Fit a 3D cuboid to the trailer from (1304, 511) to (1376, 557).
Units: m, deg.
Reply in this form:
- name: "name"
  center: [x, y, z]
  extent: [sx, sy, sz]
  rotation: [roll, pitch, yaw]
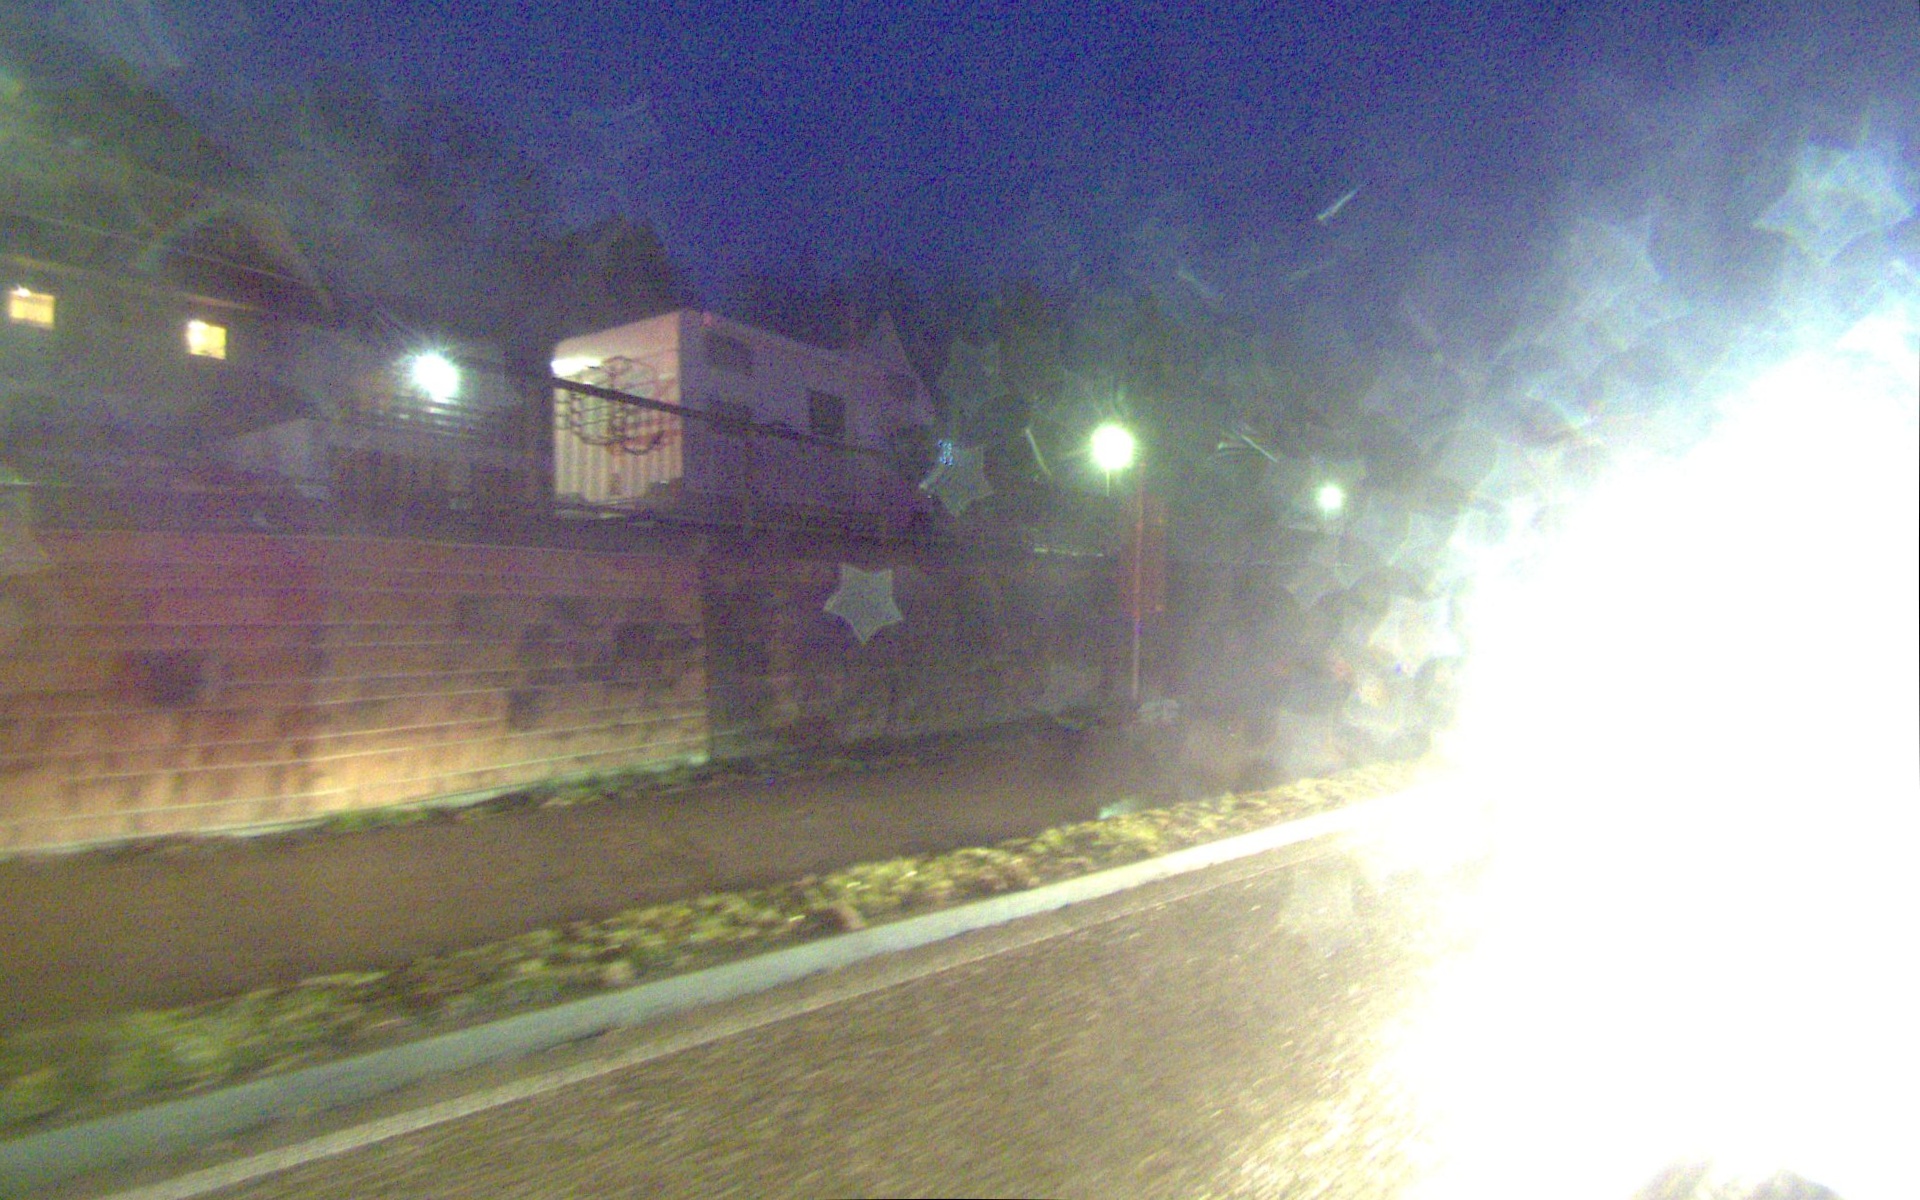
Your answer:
- name: "trailer"
  center: [19.725, -3.362, 52.416]
  extent: [2.218, 2.097, 5.651]
  rotation: [2, 2, 34]

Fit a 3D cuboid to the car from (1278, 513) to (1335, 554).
- name: "car"
  center: [15.792, -2.969, 46.046]
  extent: [1.605, 1.660, 3.954]
  rotation: [1, 1, 32]

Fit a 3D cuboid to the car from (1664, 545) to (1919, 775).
- name: "car"
  center: [8.864, 0.486, 10.315]
  extent: [4.628, 1.841, 1.758]
  rotation: [0, 0, -42]

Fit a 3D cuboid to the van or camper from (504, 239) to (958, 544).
- name: "van or camper"
  center: [-2.708, -2.374, 14.028]
  extent: [2.567, 2.944, 6.292]
  rotation: [2, 1, 30]

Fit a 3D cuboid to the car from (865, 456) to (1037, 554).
- name: "car"
  center: [-0.079, -1.848, 20.765]
  extent: [1.628, 1.638, 4.088]
  rotation: [1, 1, 31]

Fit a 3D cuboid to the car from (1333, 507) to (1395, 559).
- name: "car"
  center: [22.798, -3.681, 56.996]
  extent: [2.107, 2.668, 5.384]
  rotation: [2, 1, 34]
